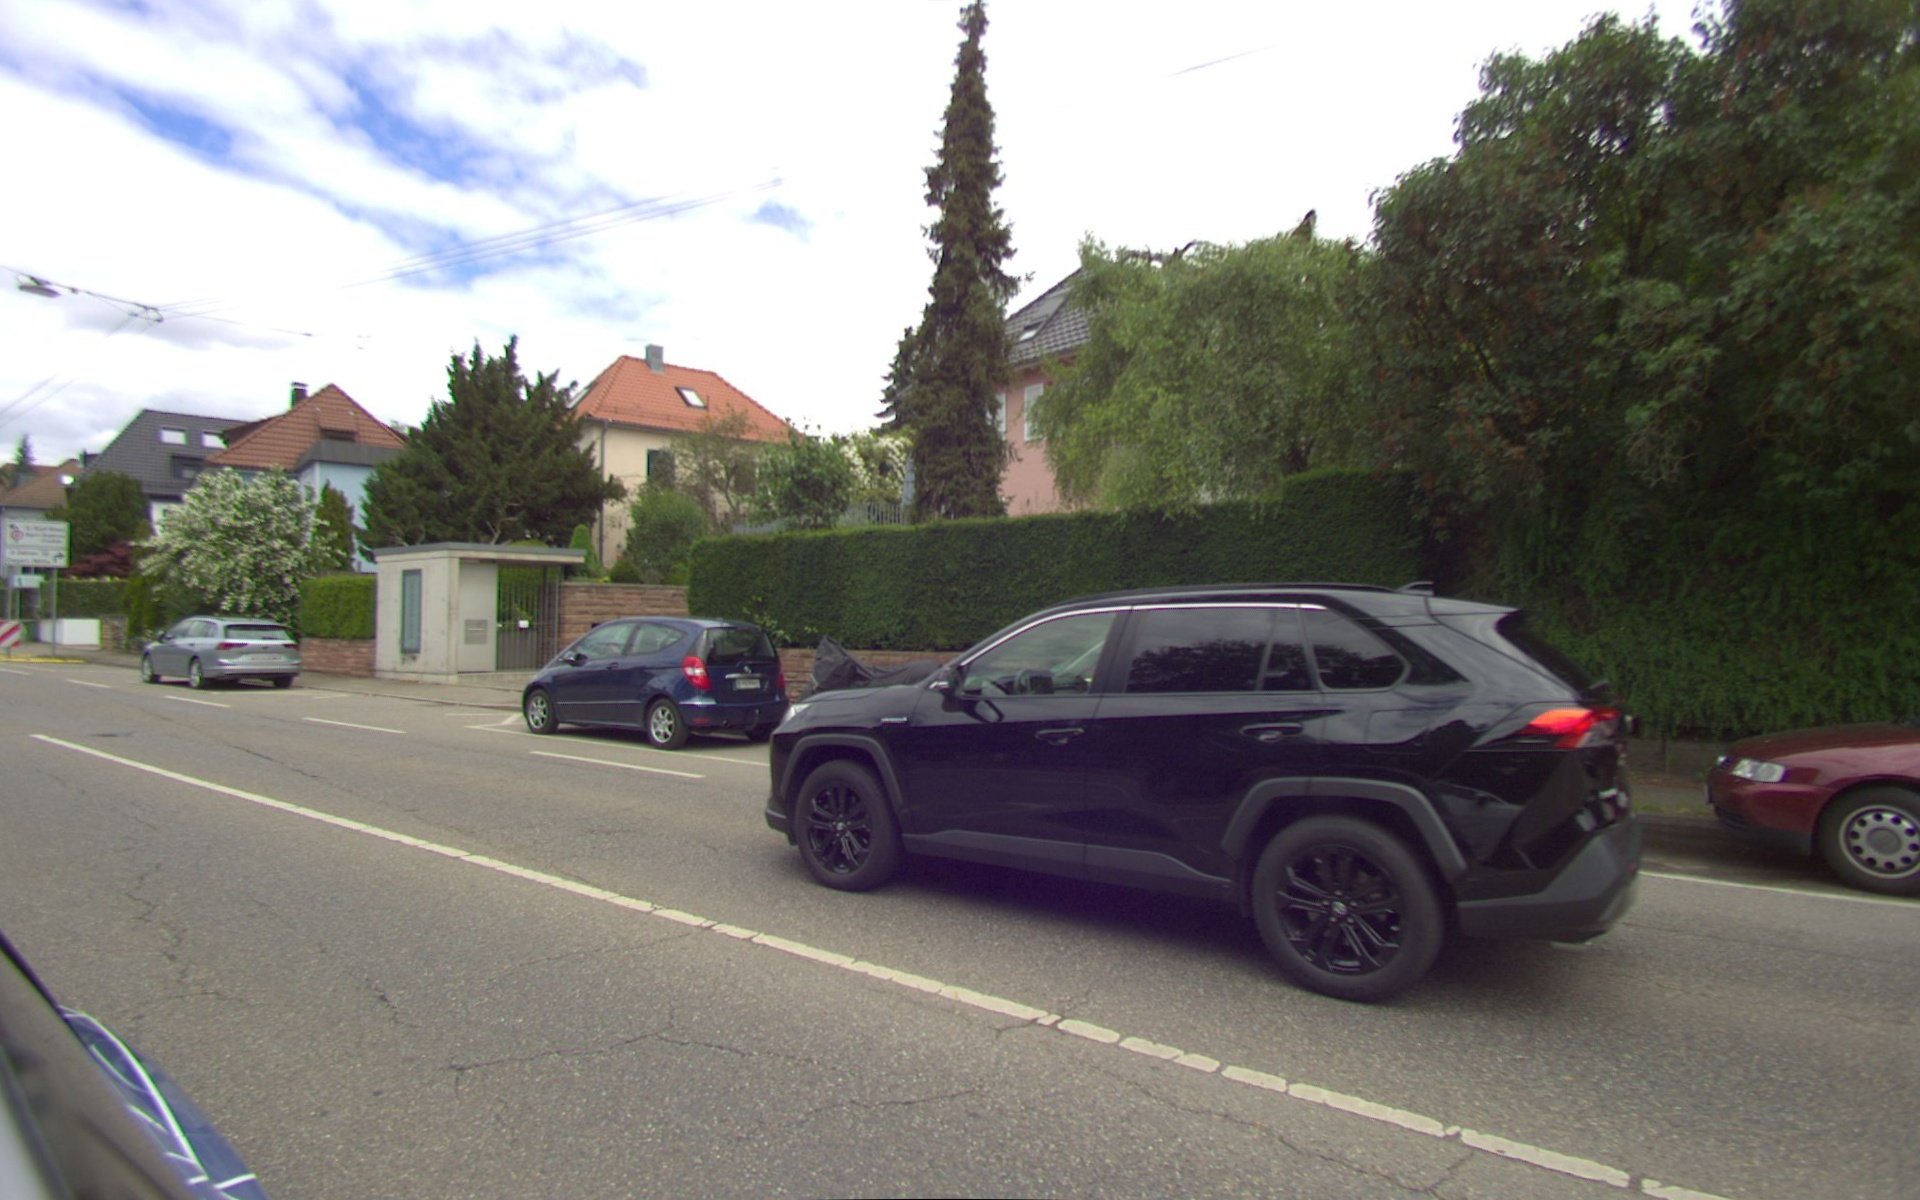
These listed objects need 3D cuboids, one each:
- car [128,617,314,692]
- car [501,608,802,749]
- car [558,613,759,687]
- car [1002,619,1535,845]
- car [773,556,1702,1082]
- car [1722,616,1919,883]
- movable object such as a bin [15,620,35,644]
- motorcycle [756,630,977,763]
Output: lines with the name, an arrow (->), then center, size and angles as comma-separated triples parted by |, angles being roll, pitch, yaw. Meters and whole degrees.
car -> -15.862, 1.116, 21.662 | 4.401, 1.466, 1.794 | -1, -3, 34
car -> -4.106, 0.935, 13.277 | 3.962, 1.568, 1.664 | 0, -3, 35
car -> -6.196, 0.992, 21.023 | 1.850, 1.401, 3.548 | -1, -2, 44
car -> 2.553, 0.947, 8.692 | 4.016, 1.506, 1.873 | -1, -3, 34
car -> 1.180, 0.721, 5.200 | 4.205, 1.659, 1.826 | 0, -2, 36
car -> 6.805, 0.854, 5.696 | 3.901, 1.489, 1.655 | -1, -3, 34
movable object such as a bin -> -38.311, 1.309, 41.447 | 0.539, 0.981, 0.502 | -1, -2, 38
motorcycle -> -1.040, 1.054, 11.230 | 2.288, 1.366, 0.883 | -2, -4, 19
